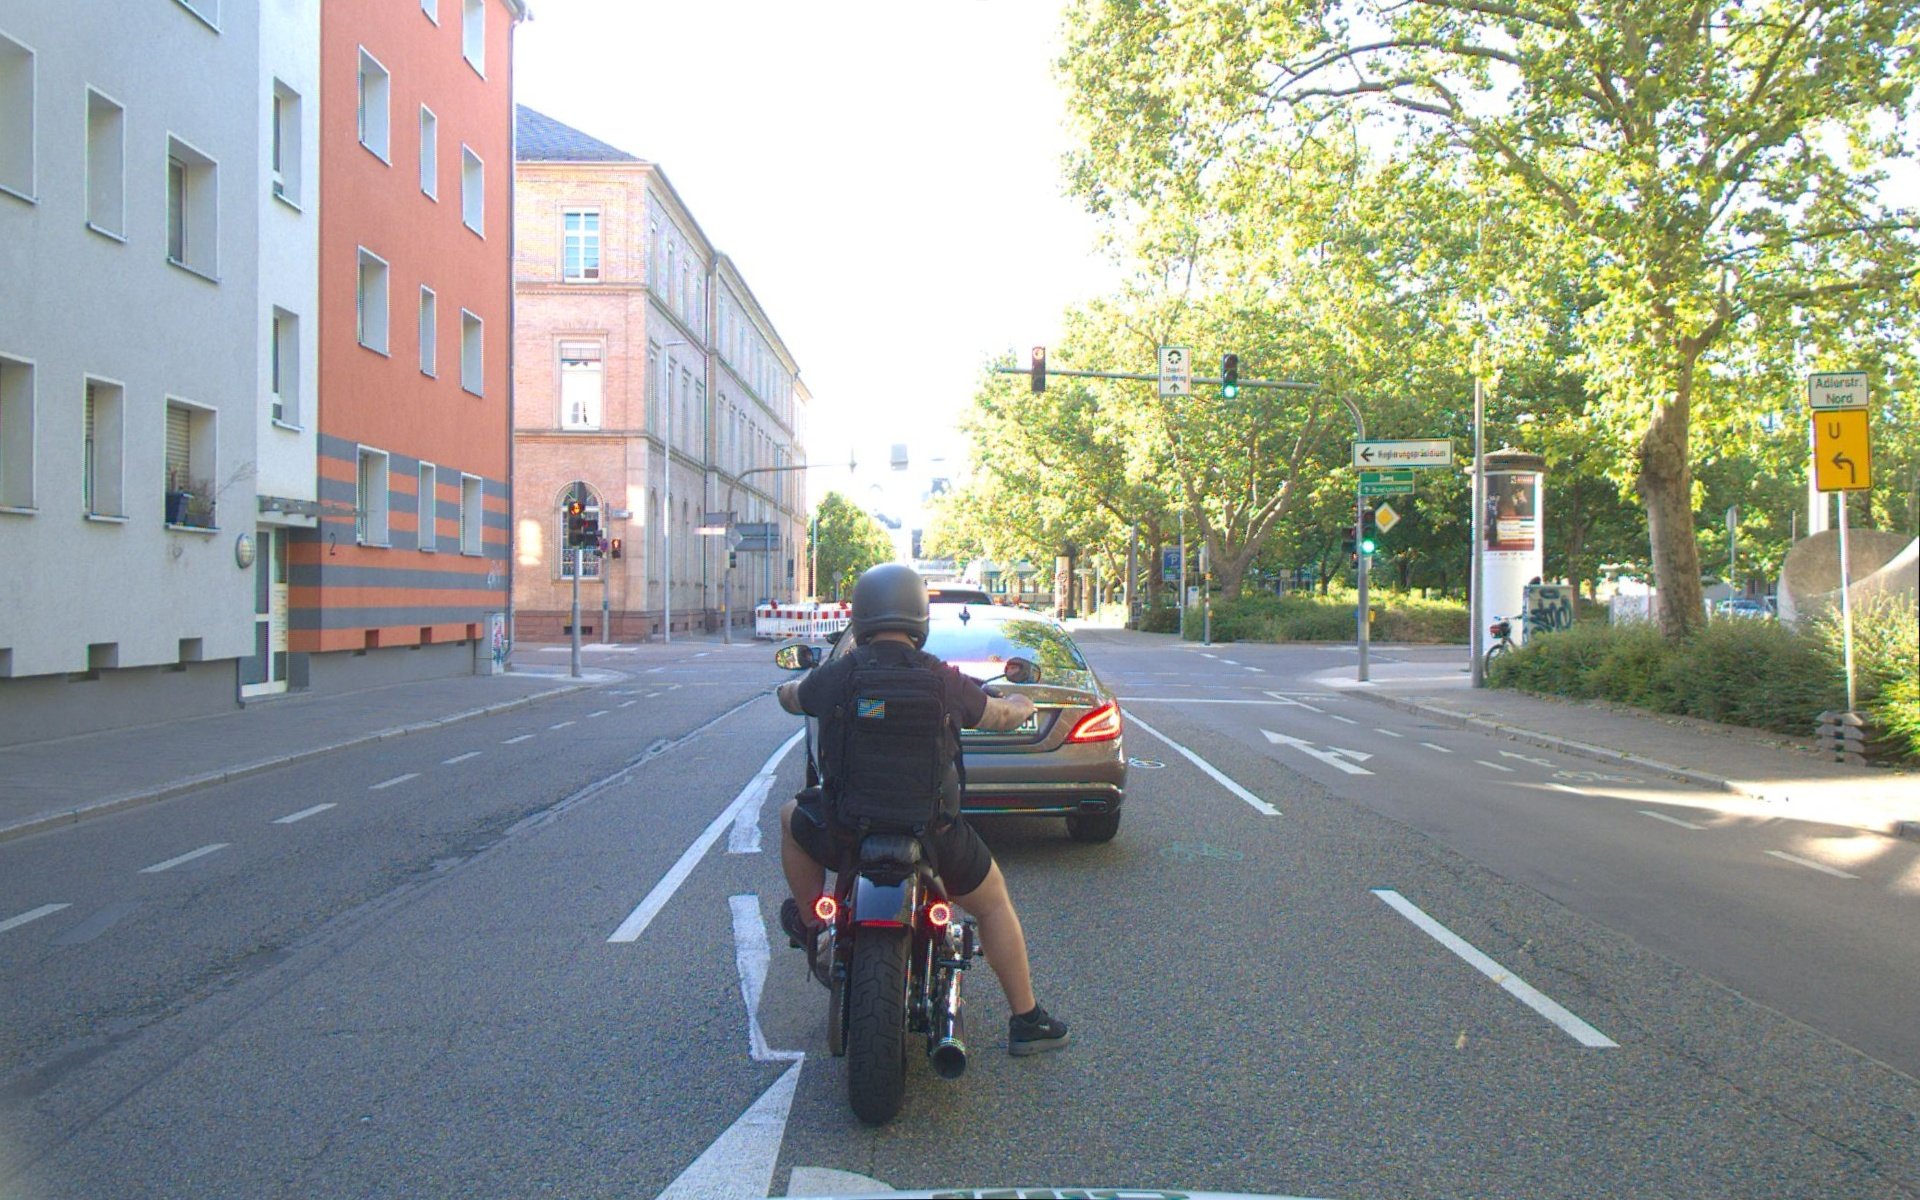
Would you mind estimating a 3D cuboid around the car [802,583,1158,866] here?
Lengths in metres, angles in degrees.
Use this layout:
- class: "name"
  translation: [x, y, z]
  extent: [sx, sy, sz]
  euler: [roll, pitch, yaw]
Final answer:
- class: "car"
  translation: [-0.083, 0.684, 11.123]
  extent: [1.790, 1.512, 4.326]
  euler: [1, 0, -7]

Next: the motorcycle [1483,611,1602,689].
- class: "motorcycle"
  translation: [9.780, 0.833, 27.819]
  extent: [1.743, 1.265, 0.723]
  euler: [1, 0, 4]

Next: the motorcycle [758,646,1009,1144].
- class: "motorcycle"
  translation: [-0.217, 0.810, 5.413]
  extent: [0.646, 1.261, 2.057]
  euler: [1, 0, -1]

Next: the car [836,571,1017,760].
- class: "car"
  translation: [-0.328, 0.599, 16.966]
  extent: [1.618, 1.681, 3.999]
  euler: [1, 0, -1]

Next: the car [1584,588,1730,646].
- class: "car"
  translation: [21.997, 0.529, 52.289]
  extent: [3.907, 1.803, 1.737]
  euler: [0, 0, -3]

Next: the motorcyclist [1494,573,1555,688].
- class: "motorcyclist"
  translation: [9.488, 0.501, 27.830]
  extent: [0.805, 1.896, 0.672]
  euler: [1, -1, 4]
